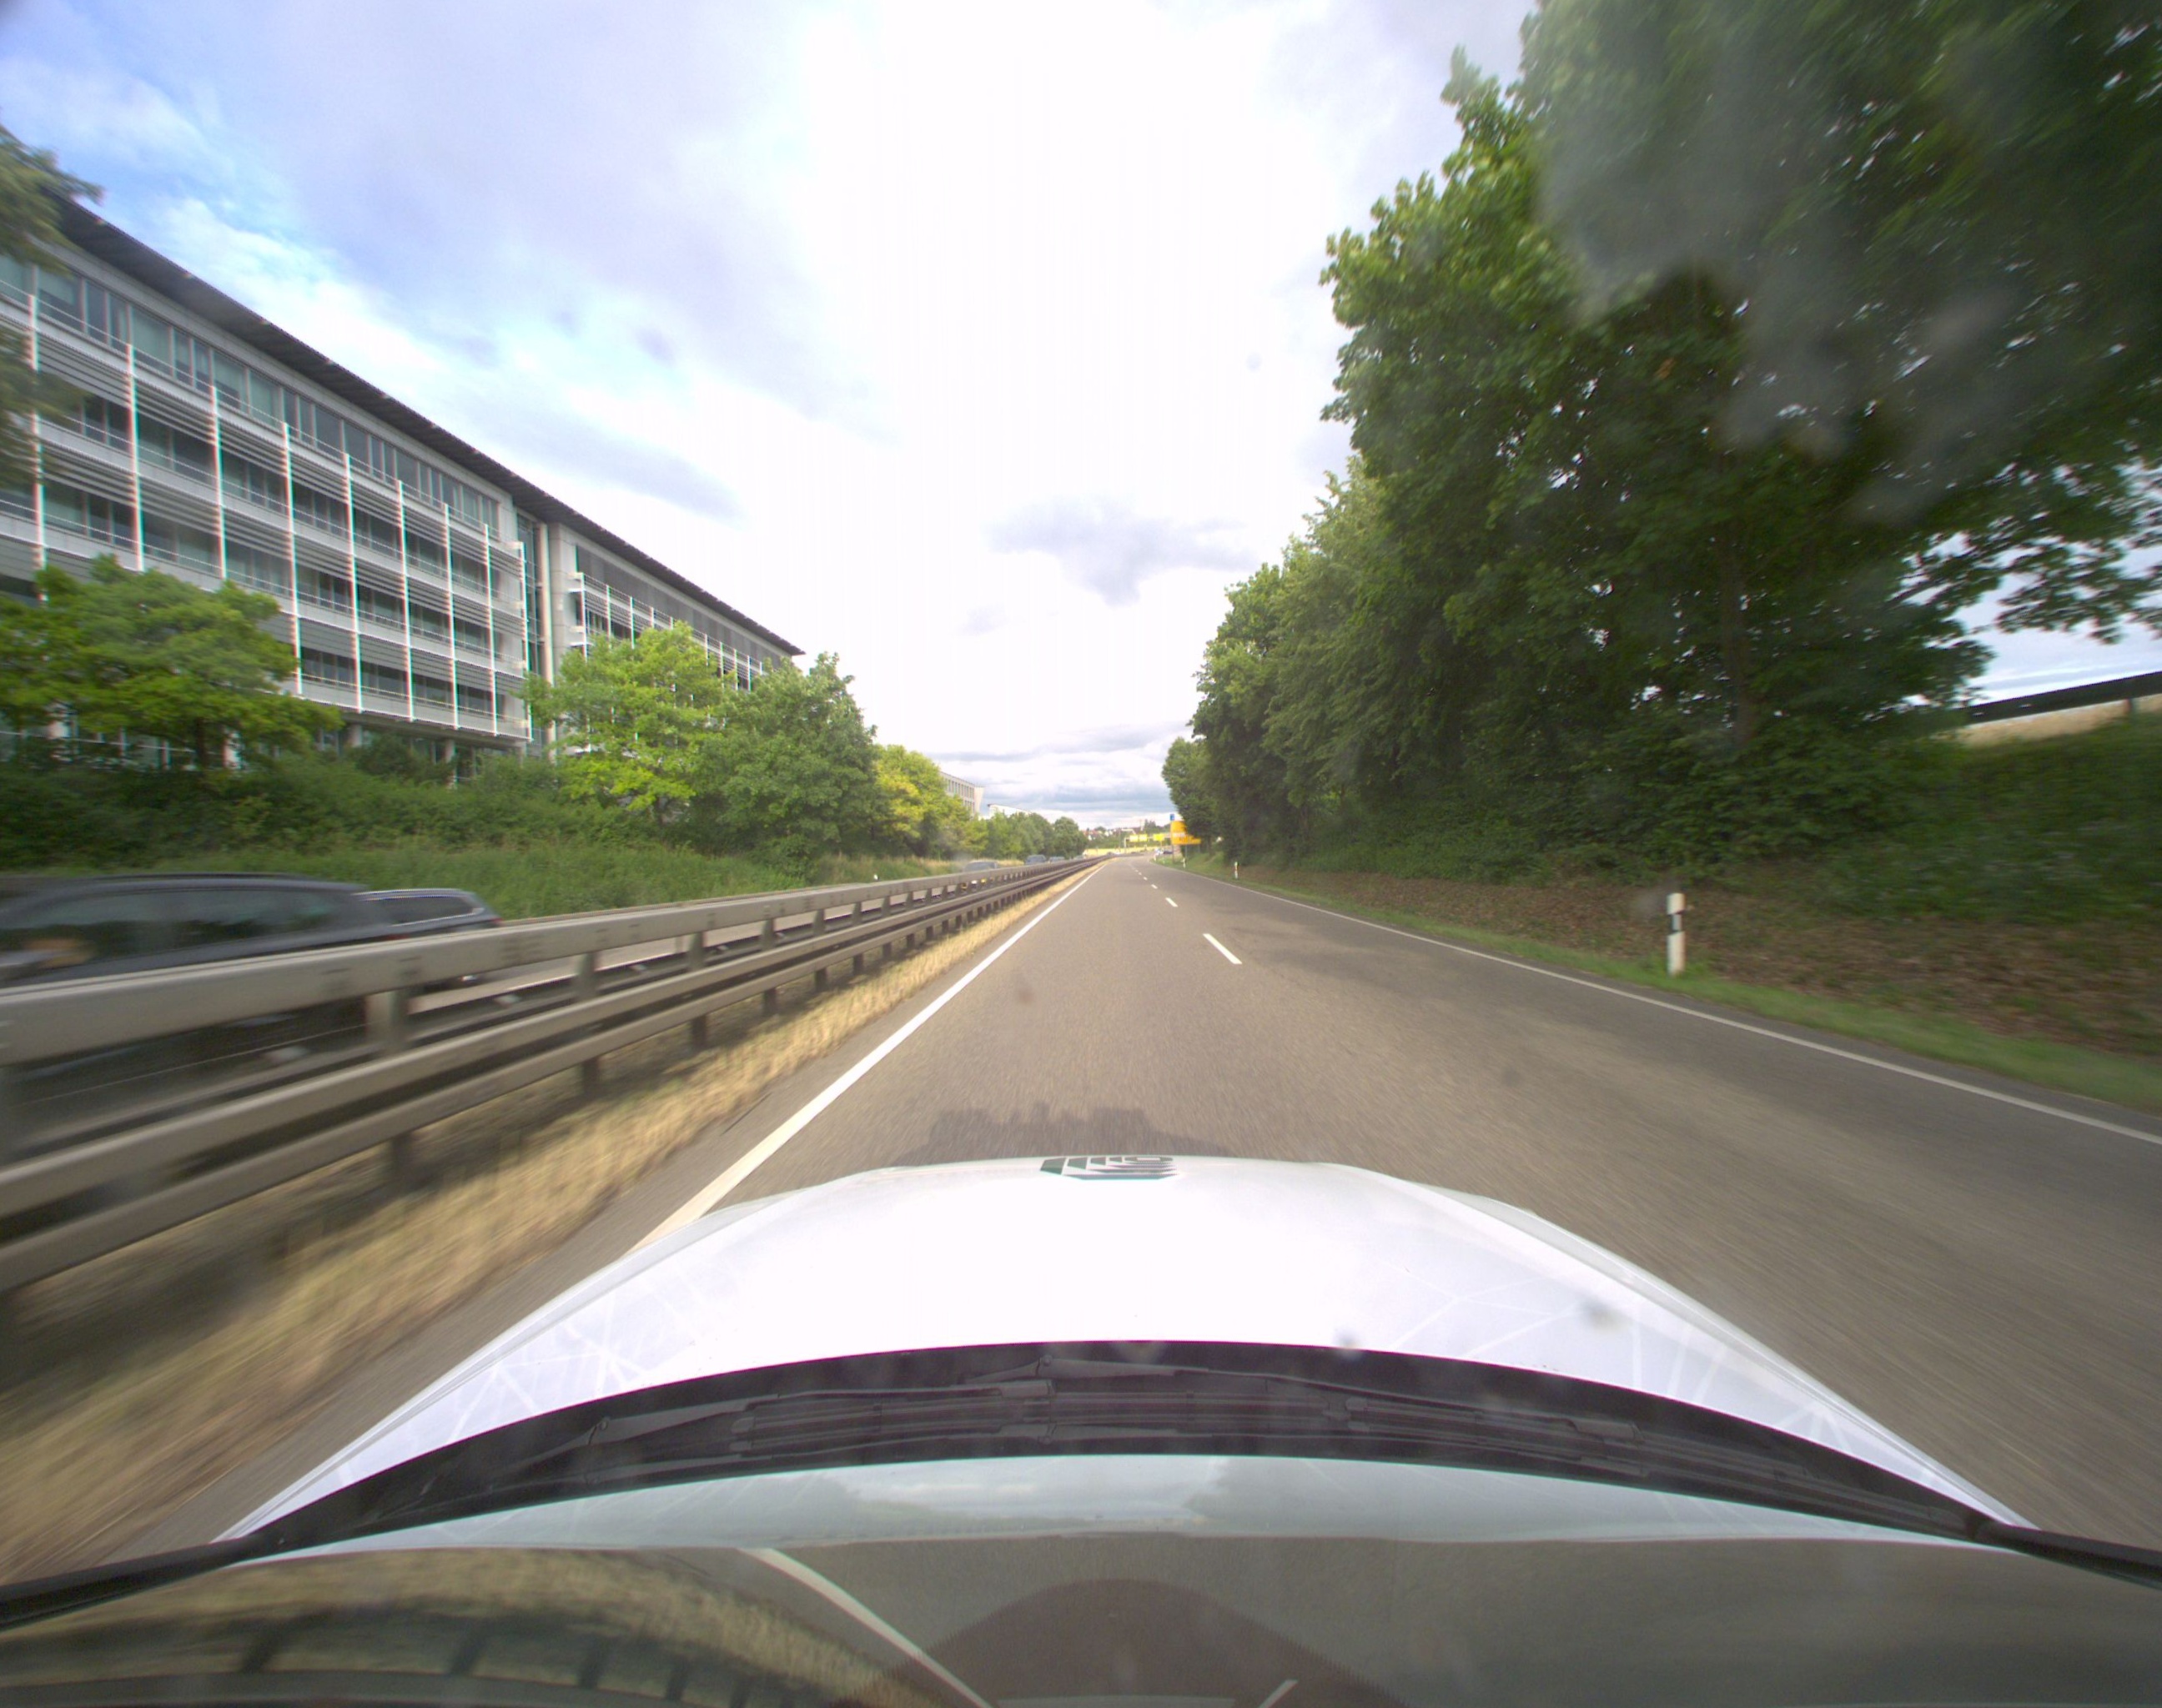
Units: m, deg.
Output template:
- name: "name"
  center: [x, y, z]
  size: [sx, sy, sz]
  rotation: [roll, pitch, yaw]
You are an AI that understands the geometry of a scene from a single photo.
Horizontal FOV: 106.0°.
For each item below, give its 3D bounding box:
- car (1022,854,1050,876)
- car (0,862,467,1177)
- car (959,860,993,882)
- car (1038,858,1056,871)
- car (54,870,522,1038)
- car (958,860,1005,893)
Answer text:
- name: "car"
  center: [-3.667, 0.888, 67.700]
  size: [1.736, 1.645, 5.283]
  rotation: [-2, 0, 2]
- name: "car"
  center: [-6.454, 0.899, 5.063]
  size: [1.813, 1.584, 4.319]
  rotation: [-2, 0, 3]
- name: "car"
  center: [-7.861, 1.279, 61.562]
  size: [1.810, 1.485, 4.419]
  rotation: [-2, 0, 2]
- name: "car"
  center: [-3.935, 1.188, 94.620]
  size: [1.736, 1.458, 4.313]
  rotation: [-2, 0, 2]
- name: "car"
  center: [-9.761, 1.085, 10.655]
  size: [1.736, 1.589, 4.313]
  rotation: [-3, 0, 2]
- name: "car"
  center: [-4.826, 1.065, 39.858]
  size: [1.585, 1.447, 4.002]
  rotation: [-2, 0, 2]
